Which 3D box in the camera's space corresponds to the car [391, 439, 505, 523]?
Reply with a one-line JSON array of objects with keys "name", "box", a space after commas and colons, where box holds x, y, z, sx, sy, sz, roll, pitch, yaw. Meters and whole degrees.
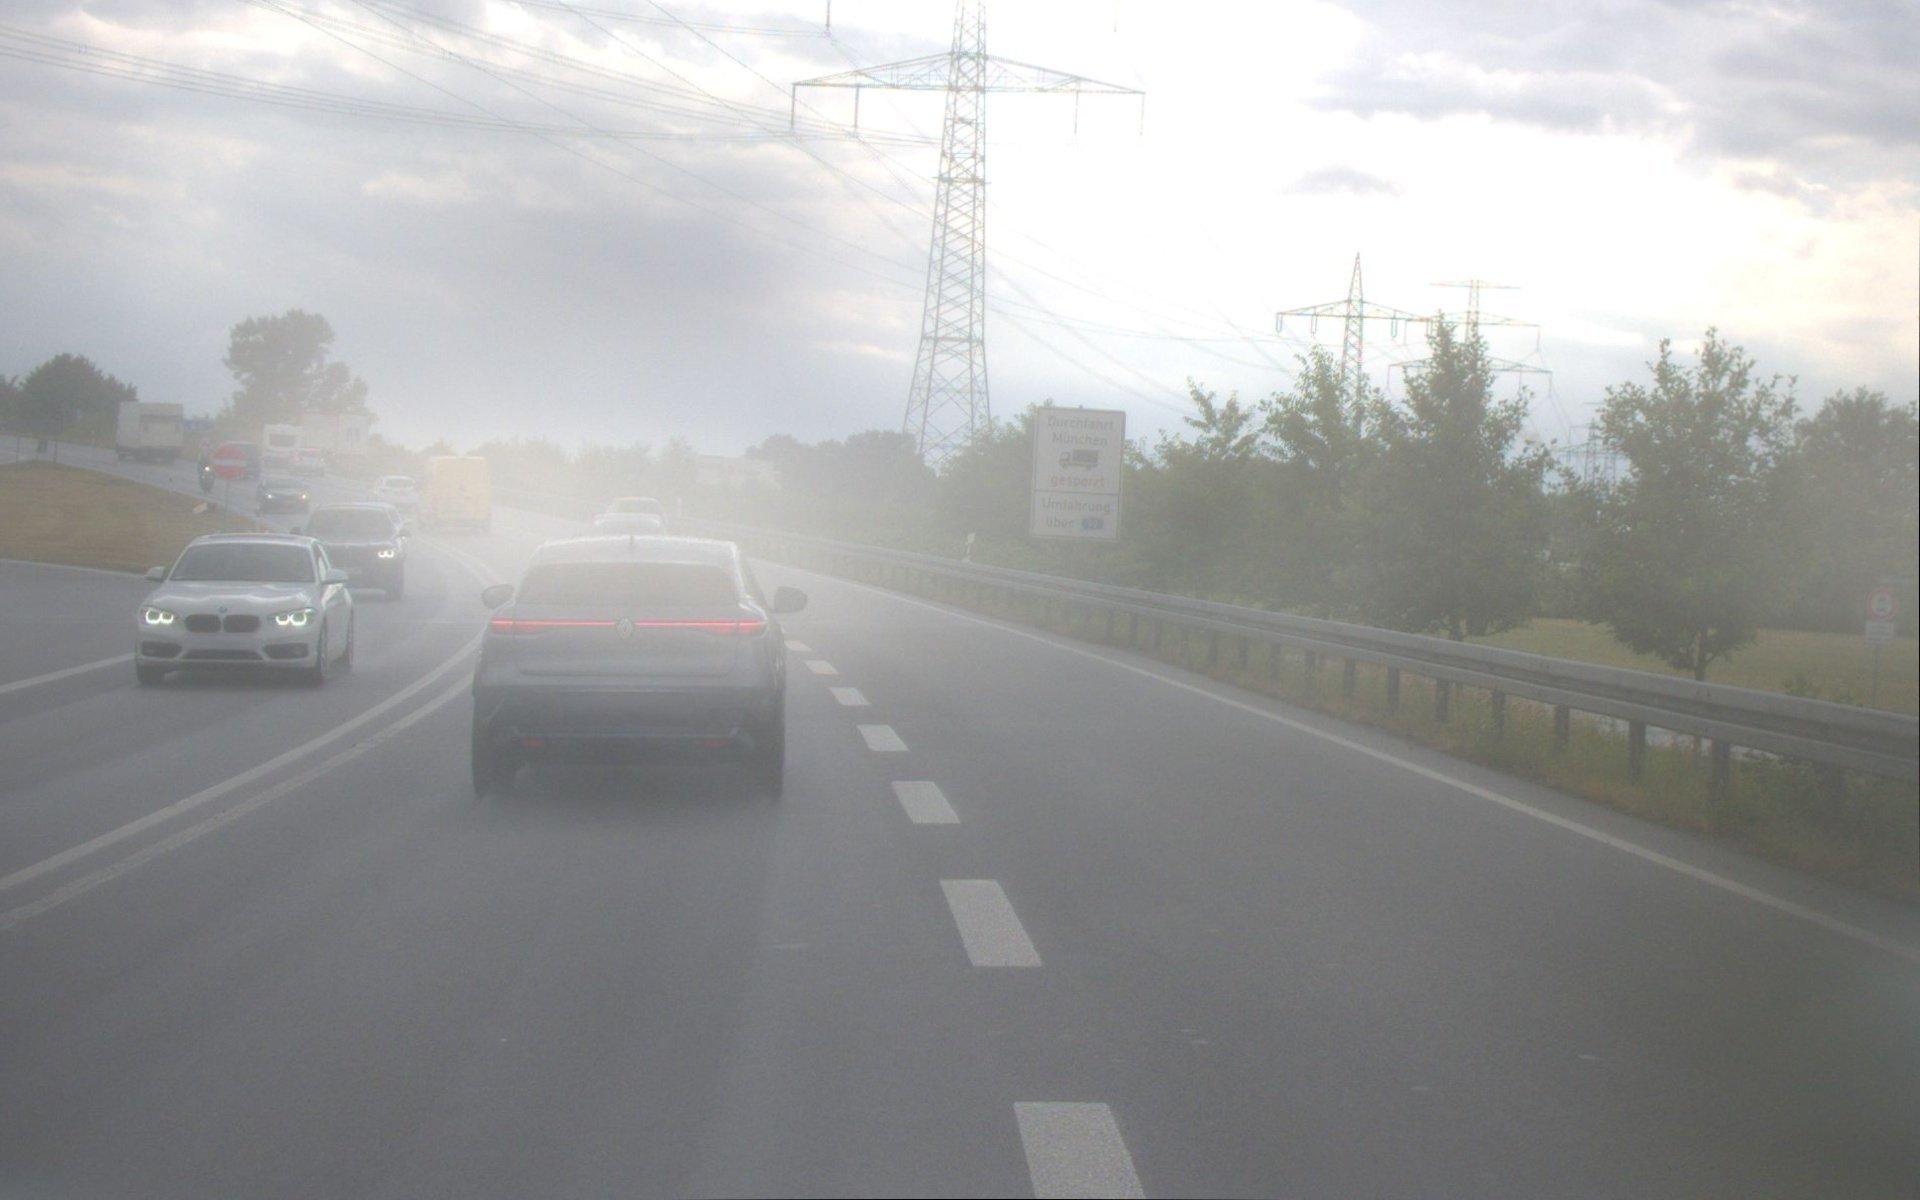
[{"name": "car", "box": [-17.218, -3.974, 115.317, 2.572, 2.716, 7.199, -1, 2, -18]}]

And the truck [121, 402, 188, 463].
[{"name": "truck", "box": [-47.690, -9.873, 203.362, 3.045, 3.373, 7.647, 1, 1, -19]}]

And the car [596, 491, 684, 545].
[{"name": "car", "box": [-9.546, -2.455, 102.361, 1.791, 1.536, 4.002, 2, 1, -17]}]

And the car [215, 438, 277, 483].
[{"name": "car", "box": [-37.609, -7.314, 181.003, 2.601, 2.242, 5.537, 1, 1, -18]}]

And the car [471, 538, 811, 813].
[{"name": "car", "box": [-1.902, 0.421, 20.780, 1.791, 1.436, 4.000, 2, 0, -5]}]

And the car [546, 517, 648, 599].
[{"name": "car", "box": [-6.968, -0.792, 66.286, 1.791, 1.436, 4.001, 3, 0, -5]}]

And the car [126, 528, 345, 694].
[{"name": "car", "box": [-7.095, 0.061, 33.974, 1.679, 1.452, 4.076, 3, 1, -7]}]

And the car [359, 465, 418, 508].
[{"name": "car", "box": [-23.011, -4.546, 138.273, 1.791, 1.682, 4.001, -1, 2, -17]}]

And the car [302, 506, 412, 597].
[{"name": "car", "box": [-10.752, -0.861, 61.499, 1.799, 1.569, 4.260, 0, 1, -8]}]

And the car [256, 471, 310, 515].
[{"name": "car", "box": [-26.616, -4.212, 135.055, 1.799, 1.588, 4.227, 1, 3, -14]}]
